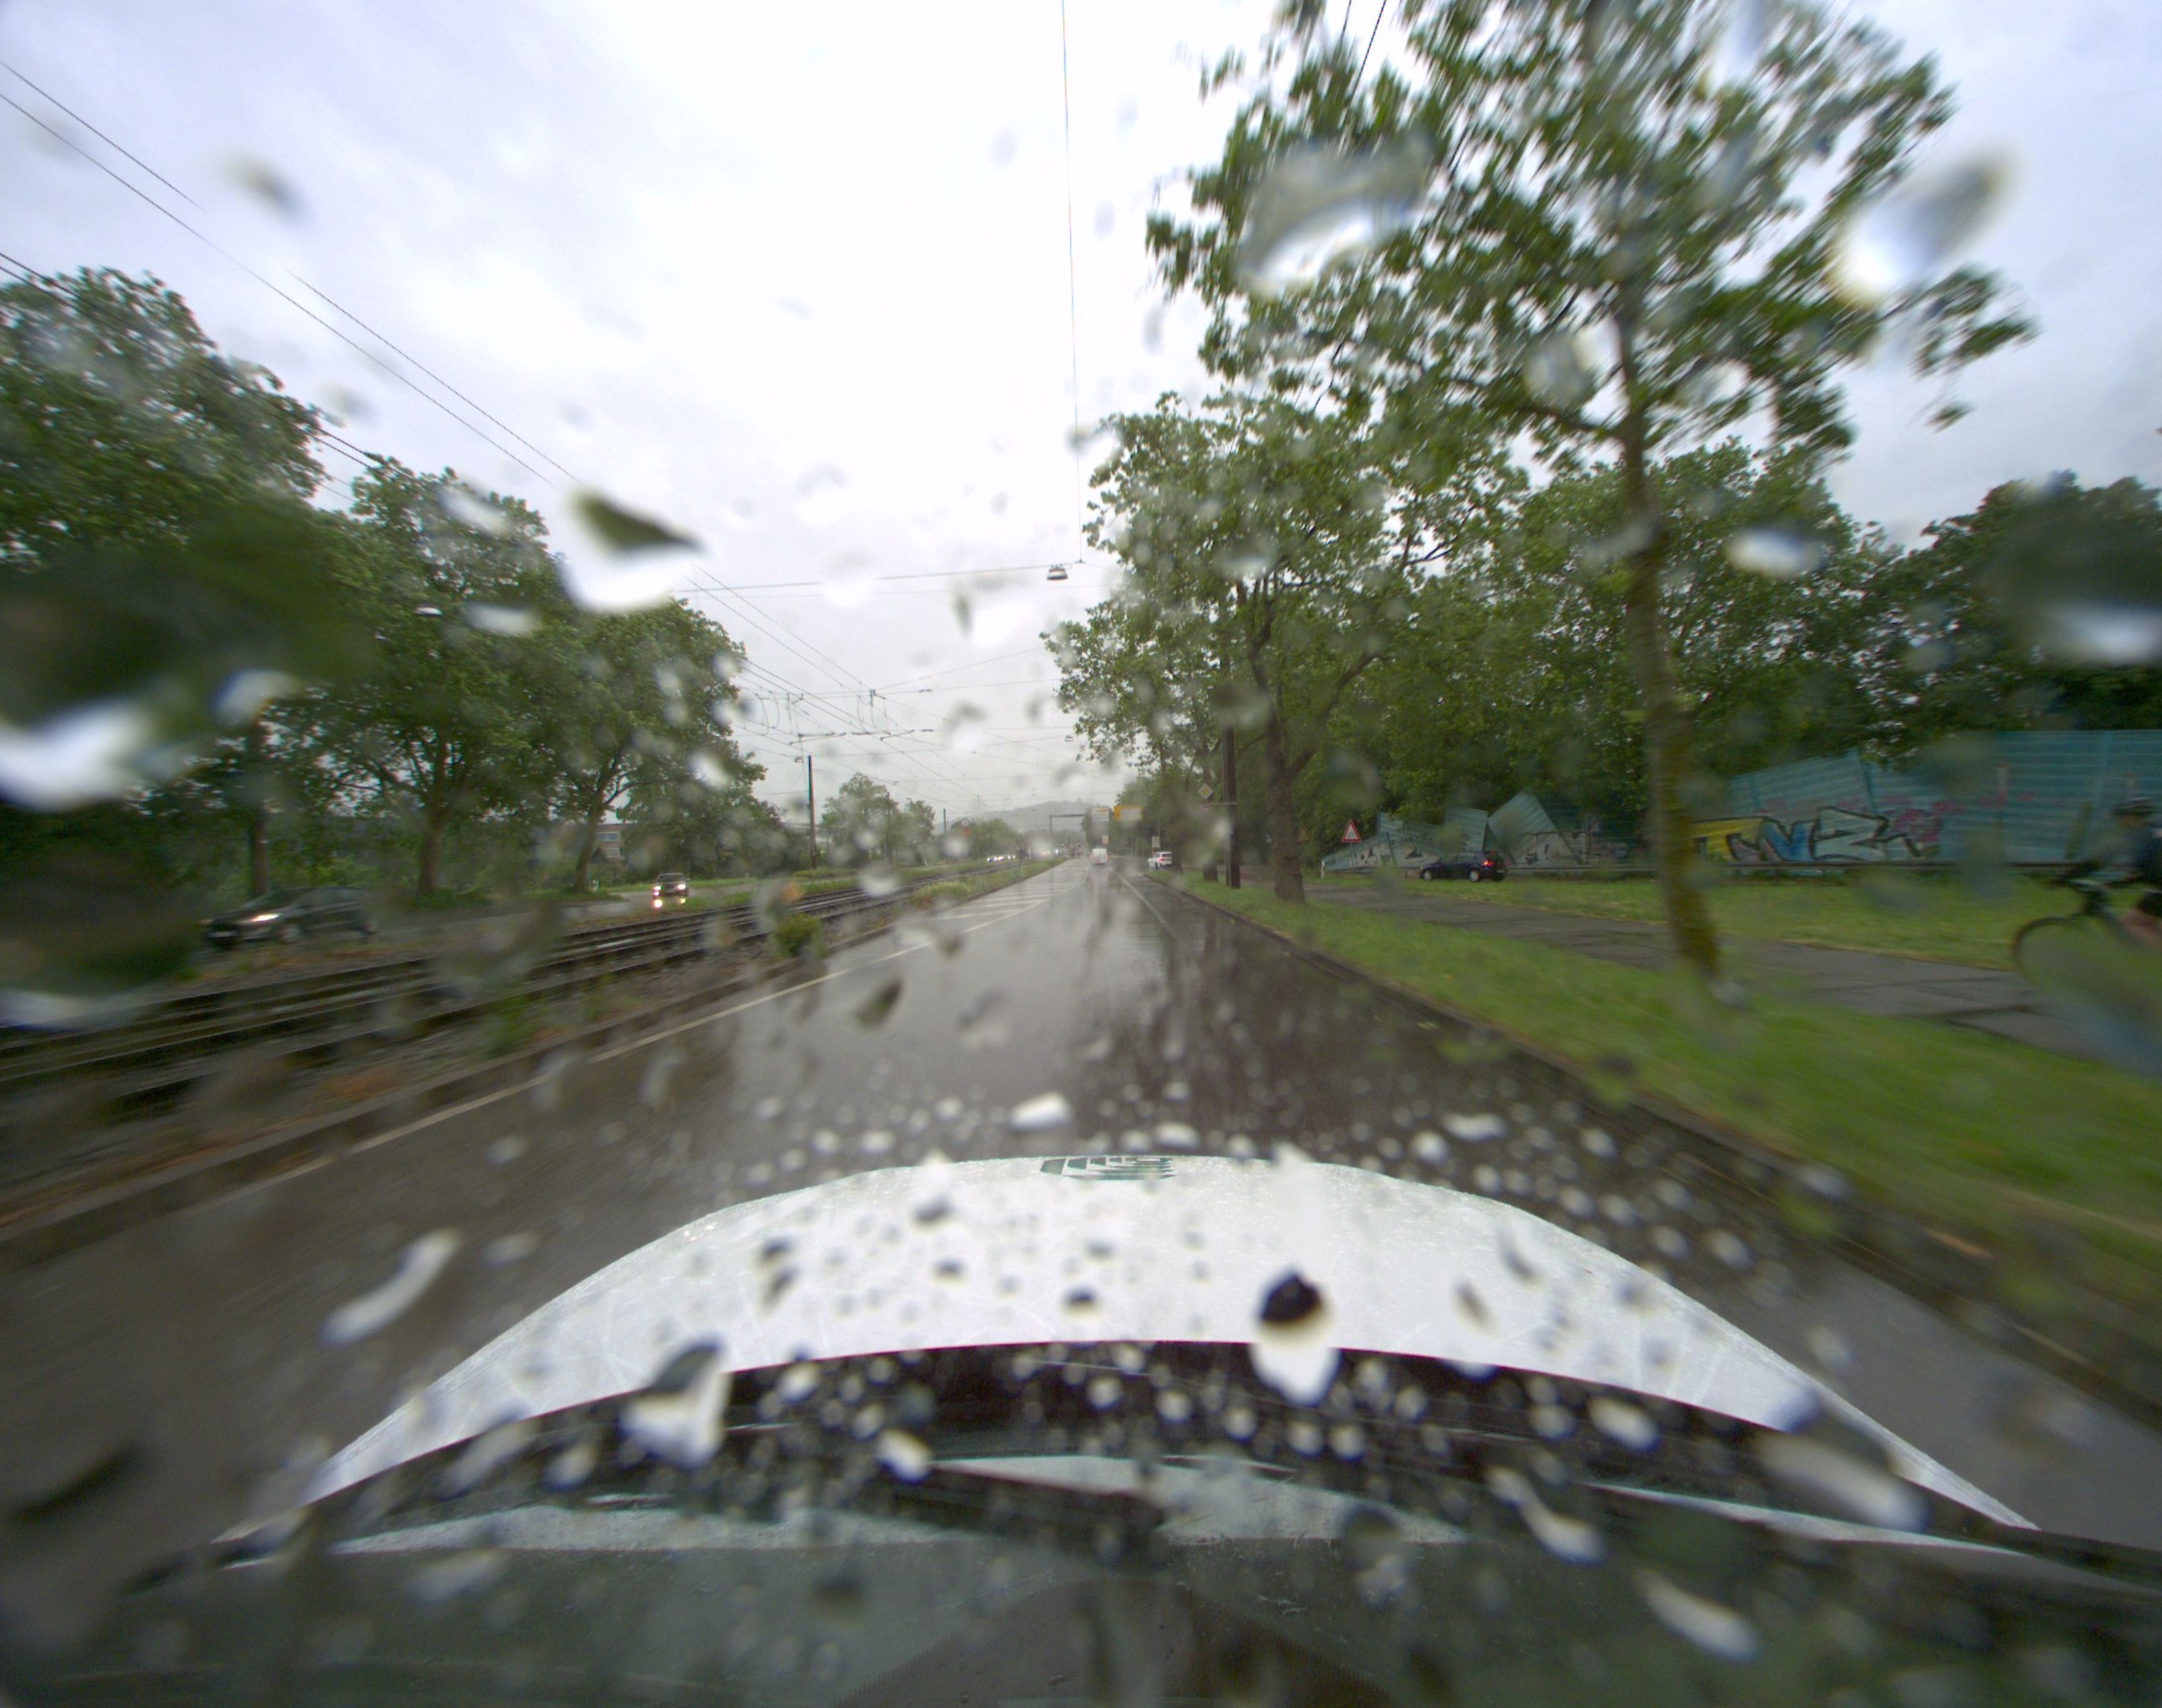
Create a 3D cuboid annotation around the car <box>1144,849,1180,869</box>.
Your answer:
[{"bbox_3d":[6.626,0.428,66.972,1.947,1.536,4.455,-2,0,-7],"label":"car"}]

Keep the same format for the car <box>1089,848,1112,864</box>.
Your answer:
[{"bbox_3d":[1.886,0.179,78.072,2.071,1.420,4.000,-3,0,0],"label":"car"}]

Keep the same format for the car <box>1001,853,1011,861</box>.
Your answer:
[{"bbox_3d":[-16.221,0.710,177.129,1.939,1.616,4.983,-2,0,-3],"label":"car"}]

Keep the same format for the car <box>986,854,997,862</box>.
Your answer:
[{"bbox_3d":[-19.496,0.830,177.725,1.939,1.686,4.775,-2,0,-3],"label":"car"}]

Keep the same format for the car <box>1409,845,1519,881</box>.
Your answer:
[{"bbox_3d":[17.701,0.405,37.880,1.872,1.536,4.479,-2,0,-25],"label":"car"}]

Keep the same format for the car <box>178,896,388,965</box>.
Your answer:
[{"bbox_3d":[-20.956,1.956,21.648,1.677,1.406,3.938,-2,0,-1],"label":"car"}]

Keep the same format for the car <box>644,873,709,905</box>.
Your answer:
[{"bbox_3d":[-22.526,1.917,45.540,1.646,1.568,4.046,-1,0,-1],"label":"car"}]
